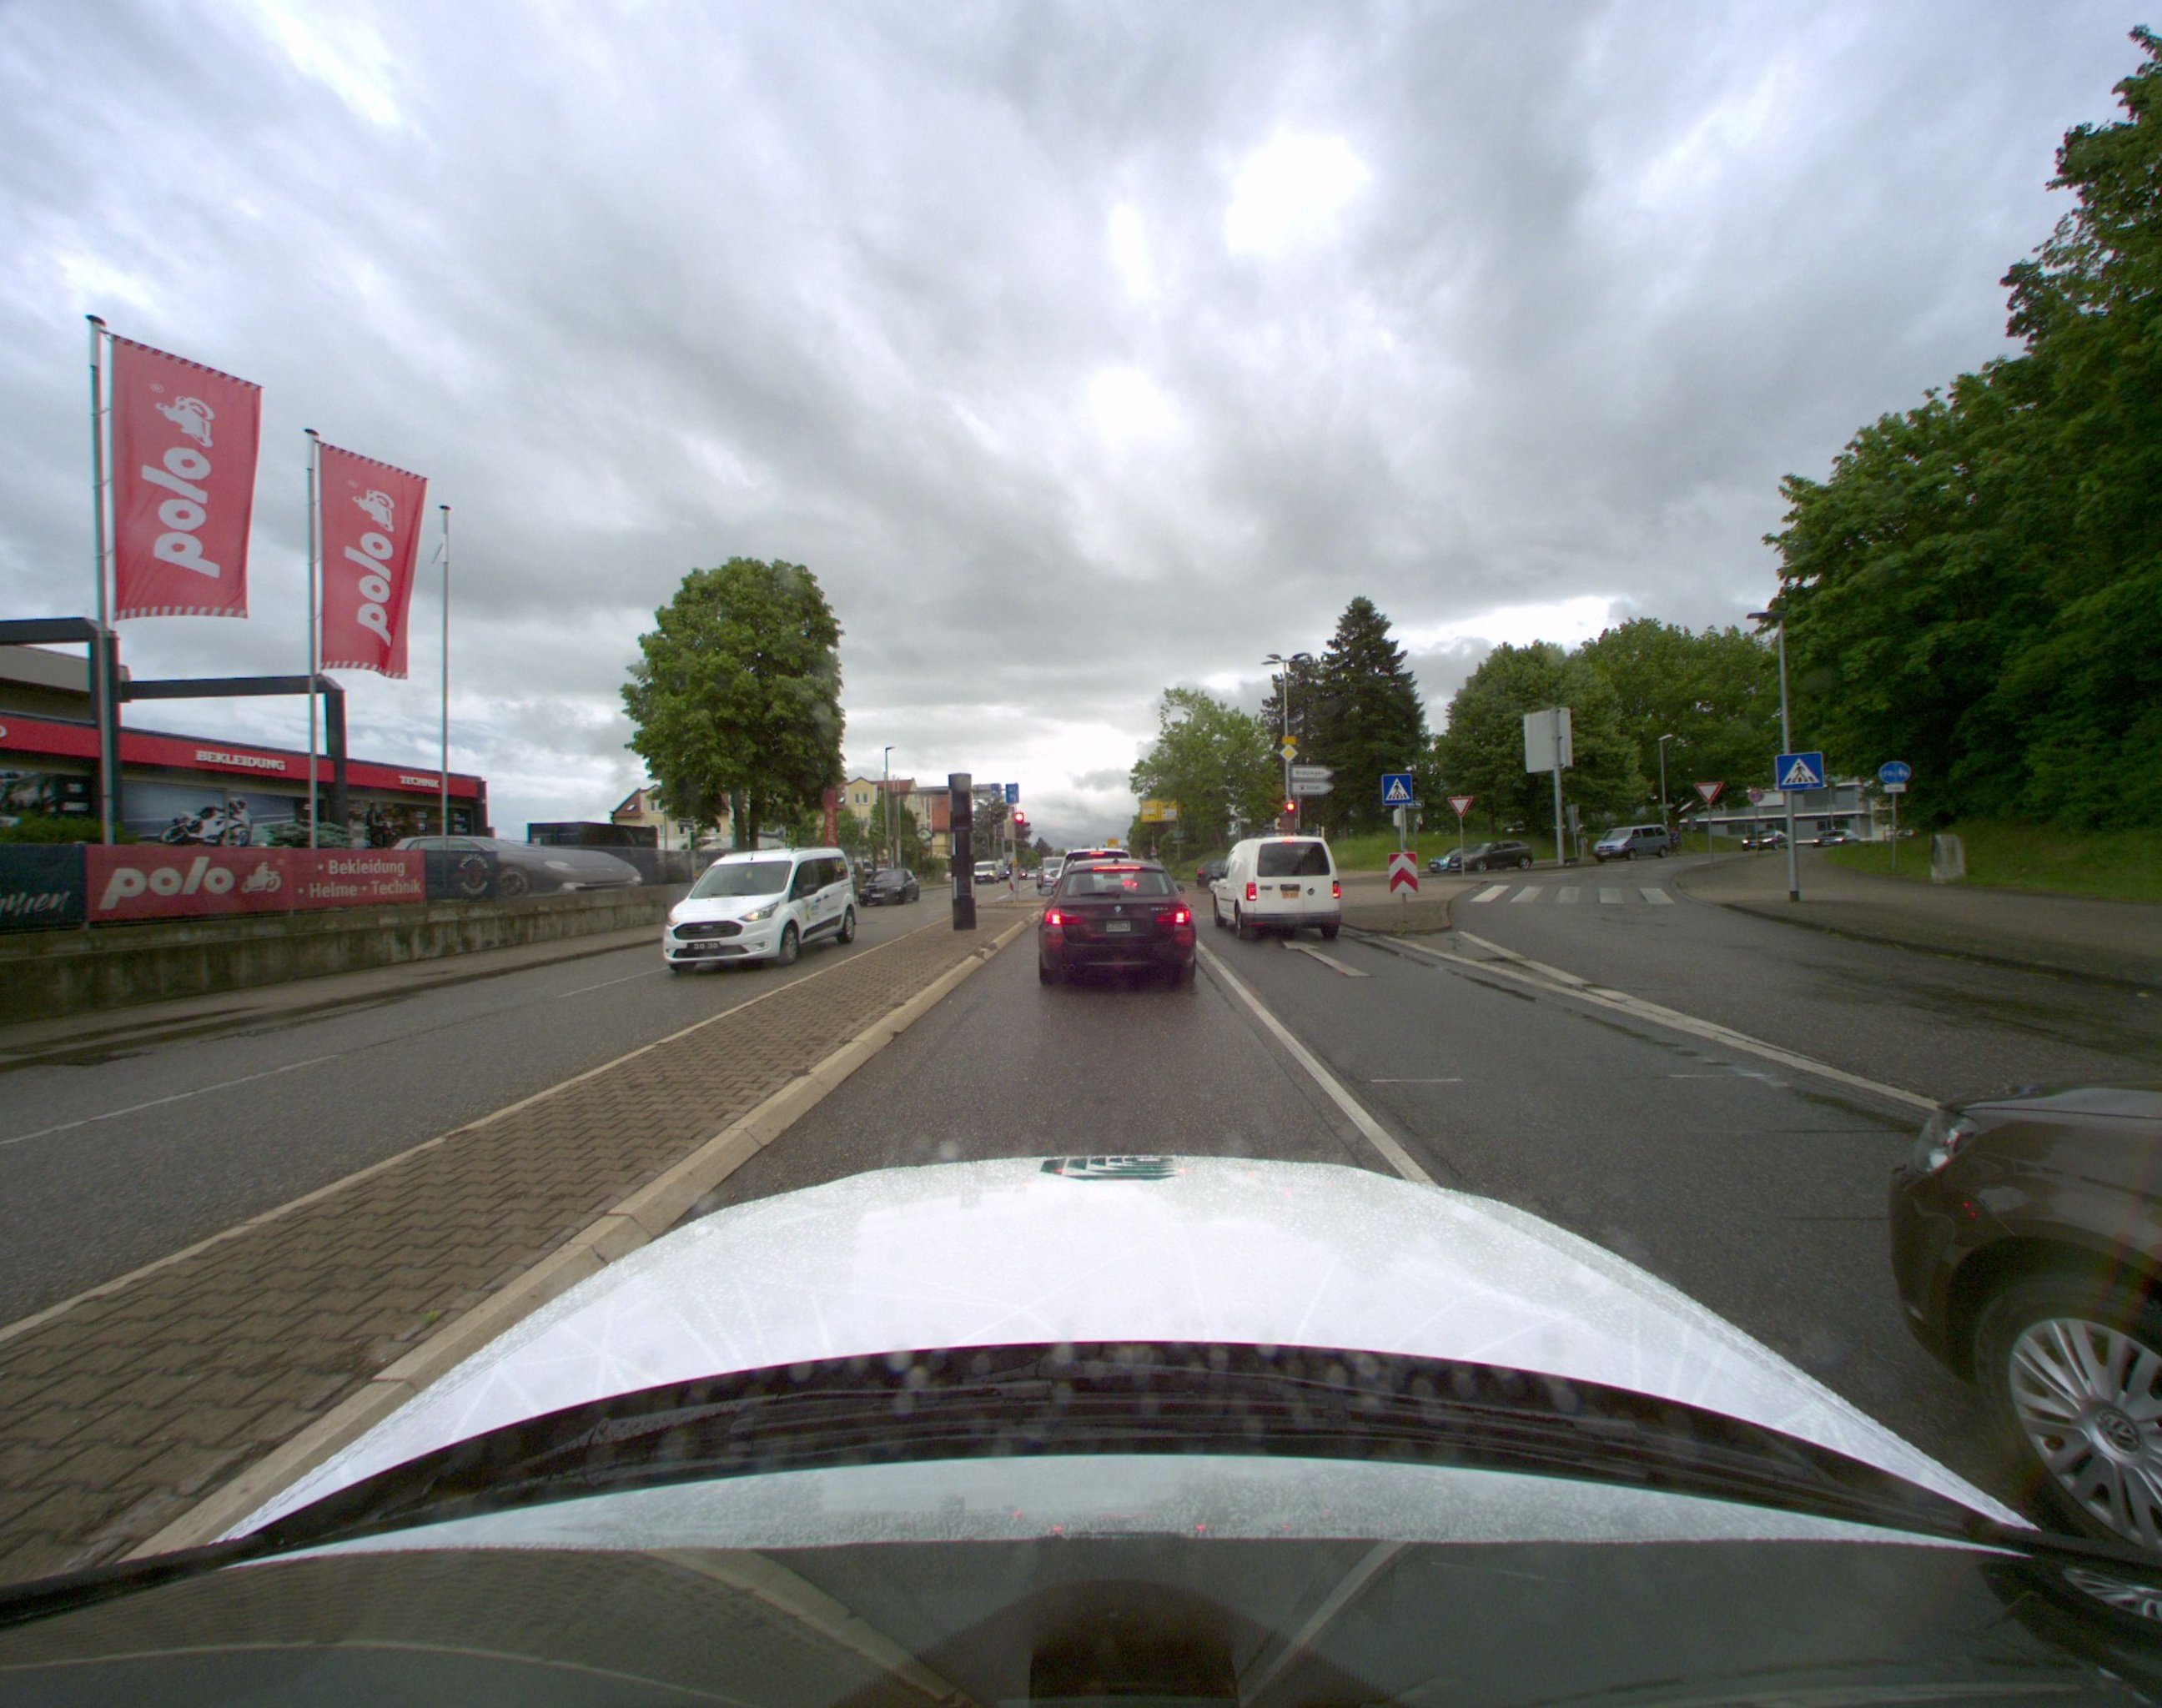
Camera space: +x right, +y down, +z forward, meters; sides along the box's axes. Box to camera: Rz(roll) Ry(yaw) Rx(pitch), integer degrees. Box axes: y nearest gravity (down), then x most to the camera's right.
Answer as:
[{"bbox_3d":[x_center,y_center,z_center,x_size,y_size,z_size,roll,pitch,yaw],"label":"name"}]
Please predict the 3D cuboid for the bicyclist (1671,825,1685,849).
[{"bbox_3d":[36.693,-1.034,50.041,0.563,1.489,0.451,-2,0,-26],"label":"bicyclist"}]

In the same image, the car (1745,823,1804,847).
[{"bbox_3d":[46.054,-1.257,54.076,4.014,1.447,1.821,-2,-1,-32],"label":"car"}]

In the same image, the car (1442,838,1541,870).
[{"bbox_3d":[21.132,0.002,41.929,4.321,1.467,1.892,-2,0,-13],"label":"car"}]

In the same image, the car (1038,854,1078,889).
[{"bbox_3d":[-1.132,0.869,41.852,1.728,1.691,4.001,-2,0,1],"label":"car"}]

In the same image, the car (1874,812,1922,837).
[{"bbox_3d":[61.387,-2.197,61.192,3.962,1.708,1.801,-3,1,-34],"label":"car"}]

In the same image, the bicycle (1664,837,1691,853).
[{"bbox_3d":[36.625,-0.549,49.996,1.753,0.953,0.574,-2,0,-26],"label":"bicycle"}]

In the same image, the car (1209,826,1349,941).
[{"bbox_3d":[3.604,0.500,15.517,1.735,1.869,3.946,-1,0,1],"label":"car"}]

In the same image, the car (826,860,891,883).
[{"bbox_3d":[-16.081,1.270,58.881,4.215,1.456,1.785,-2,0,-26],"label":"car"}]

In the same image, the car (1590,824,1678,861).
[{"bbox_3d":[30.613,-0.637,45.091,4.750,1.851,1.885,-2,1,-25],"label":"car"}]

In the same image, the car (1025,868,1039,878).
[{"bbox_3d":[-6.957,2.707,116.579,1.662,1.354,3.443,-2,0,1],"label":"car"}]

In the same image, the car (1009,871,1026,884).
[{"bbox_3d":[-7.673,2.819,99.224,1.662,1.354,3.443,-2,0,1],"label":"car"}]

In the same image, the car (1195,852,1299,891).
[{"bbox_3d":[6.877,0.733,34.120,4.062,1.456,1.904,-2,0,6],"label":"car"}]

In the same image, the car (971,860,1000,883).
[{"bbox_3d":[-7.563,1.359,64.738,1.662,1.670,3.684,-2,0,1],"label":"car"}]

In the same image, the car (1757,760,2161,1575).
[{"bbox_3d":[2.936,0.620,0.481,1.708,1.596,4.132,-1,1,1],"label":"car"}]

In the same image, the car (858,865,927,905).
[{"bbox_3d":[-7.508,1.191,32.788,1.662,1.382,4.073,-2,0,2],"label":"car"}]

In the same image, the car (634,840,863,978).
[{"bbox_3d":[-5.314,0.791,13.813,1.851,1.823,4.579,-4,0,0],"label":"car"}]

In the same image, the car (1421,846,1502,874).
[{"bbox_3d":[21.171,0.304,45.316,3.996,1.294,1.600,-3,1,-16],"label":"car"}]

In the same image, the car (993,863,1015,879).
[{"bbox_3d":[-7.612,1.669,80.875,1.662,1.354,3.443,-2,0,1],"label":"car"}]

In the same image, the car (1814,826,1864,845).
[{"bbox_3d":[57.700,-1.414,61.964,4.016,1.321,1.938,-2,0,-34],"label":"car"}]

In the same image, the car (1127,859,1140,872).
[{"bbox_3d":[6.528,1.415,101.432,1.593,1.371,3.684,-3,1,4],"label":"car"}]

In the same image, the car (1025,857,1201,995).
[{"bbox_3d":[0.492,0.772,10.576,1.846,1.419,3.962,-1,0,5],"label":"car"}]

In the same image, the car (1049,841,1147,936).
[{"bbox_3d":[0.445,0.616,16.484,1.720,1.711,3.387,-1,0,5],"label":"car"}]
